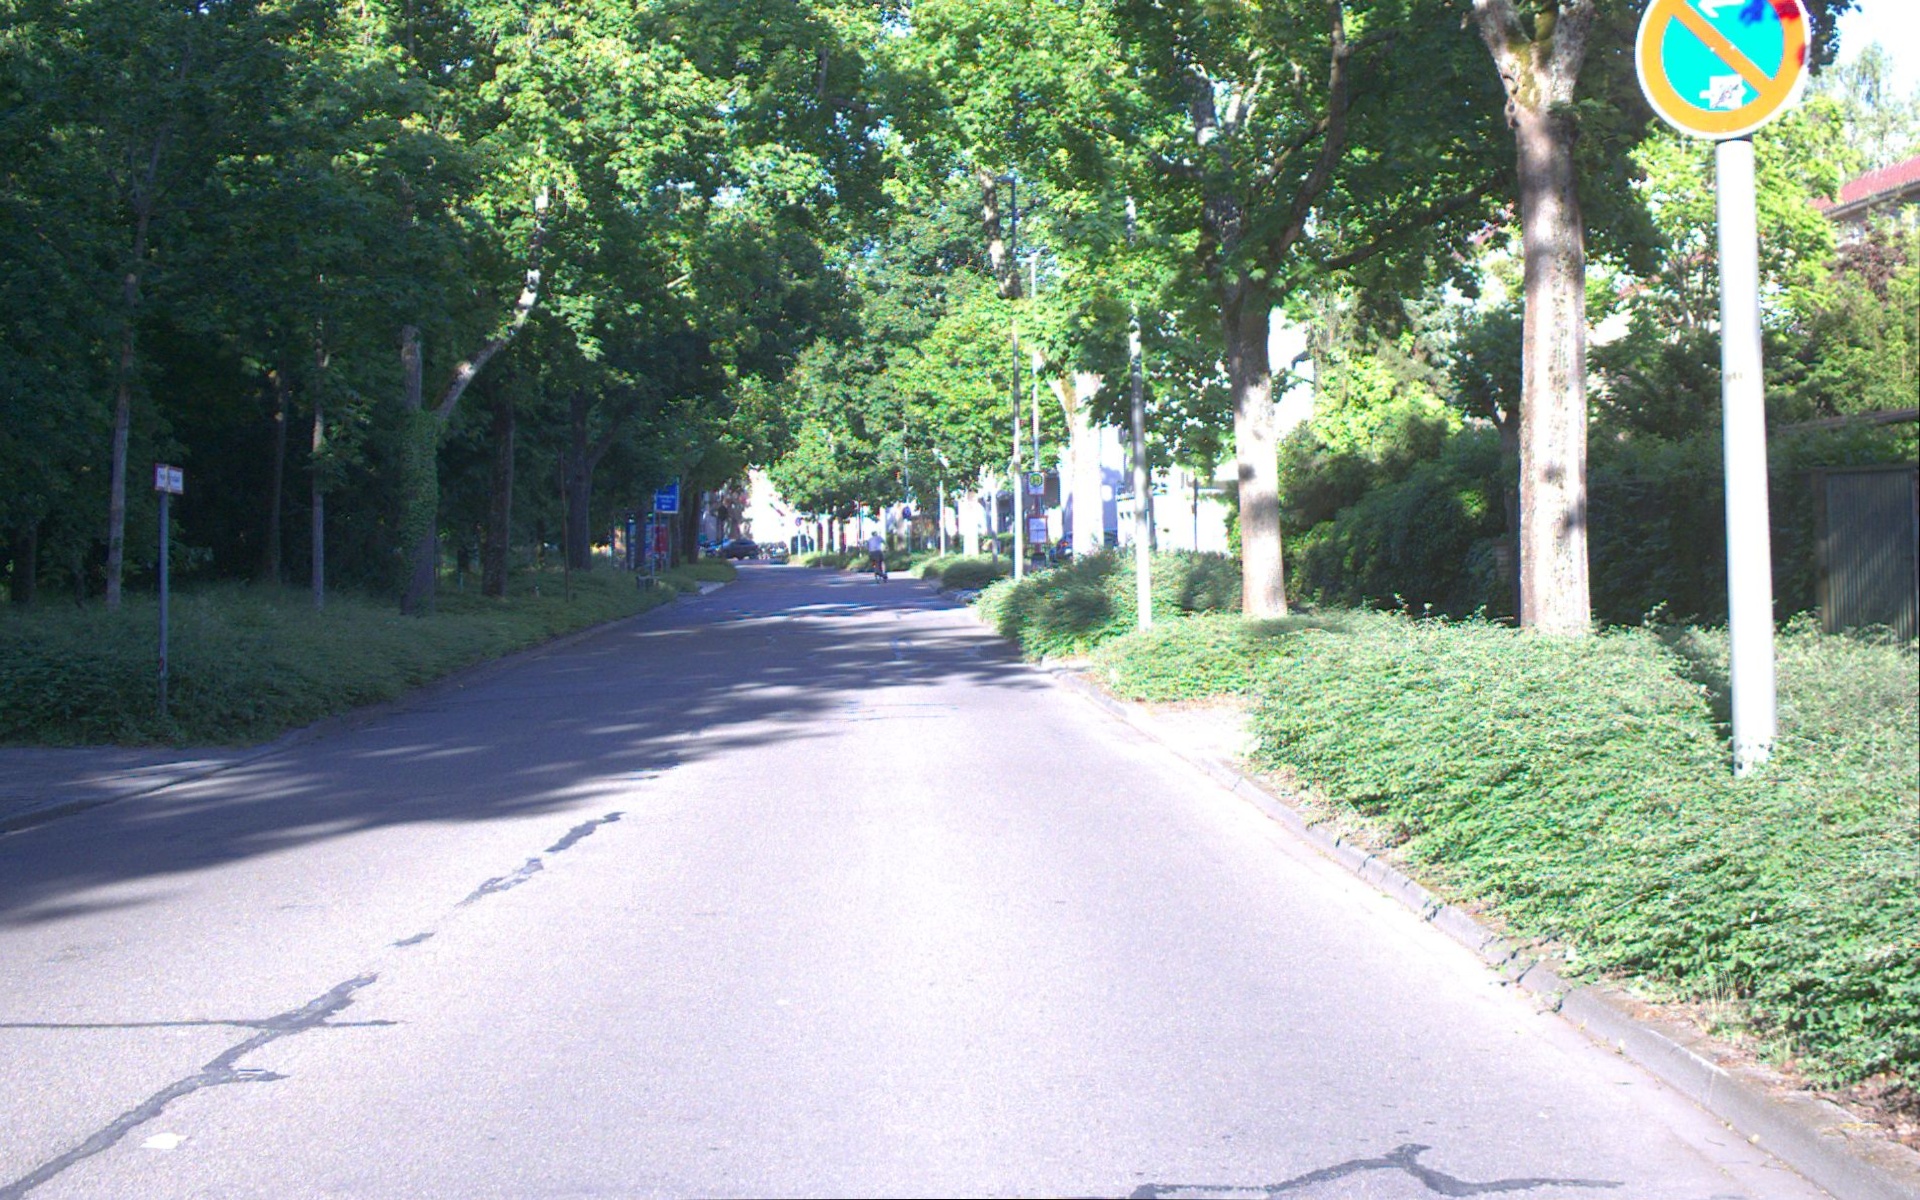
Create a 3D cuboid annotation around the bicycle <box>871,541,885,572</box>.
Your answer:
[{"bbox_3d":[-2.727,-1.445,113.879,0.439,0.975,1.662,-2,3,-2],"label":"bicycle"}]

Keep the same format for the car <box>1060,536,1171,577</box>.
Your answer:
[{"bbox_3d":[6.314,-1.773,139.240,4.351,1.349,2.144,2,5,5],"label":"car"}]

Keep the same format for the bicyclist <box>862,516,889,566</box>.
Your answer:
[{"bbox_3d":[-2.795,-1.952,113.816,0.867,1.635,1.115,0,2,-2],"label":"bicyclist"}]
